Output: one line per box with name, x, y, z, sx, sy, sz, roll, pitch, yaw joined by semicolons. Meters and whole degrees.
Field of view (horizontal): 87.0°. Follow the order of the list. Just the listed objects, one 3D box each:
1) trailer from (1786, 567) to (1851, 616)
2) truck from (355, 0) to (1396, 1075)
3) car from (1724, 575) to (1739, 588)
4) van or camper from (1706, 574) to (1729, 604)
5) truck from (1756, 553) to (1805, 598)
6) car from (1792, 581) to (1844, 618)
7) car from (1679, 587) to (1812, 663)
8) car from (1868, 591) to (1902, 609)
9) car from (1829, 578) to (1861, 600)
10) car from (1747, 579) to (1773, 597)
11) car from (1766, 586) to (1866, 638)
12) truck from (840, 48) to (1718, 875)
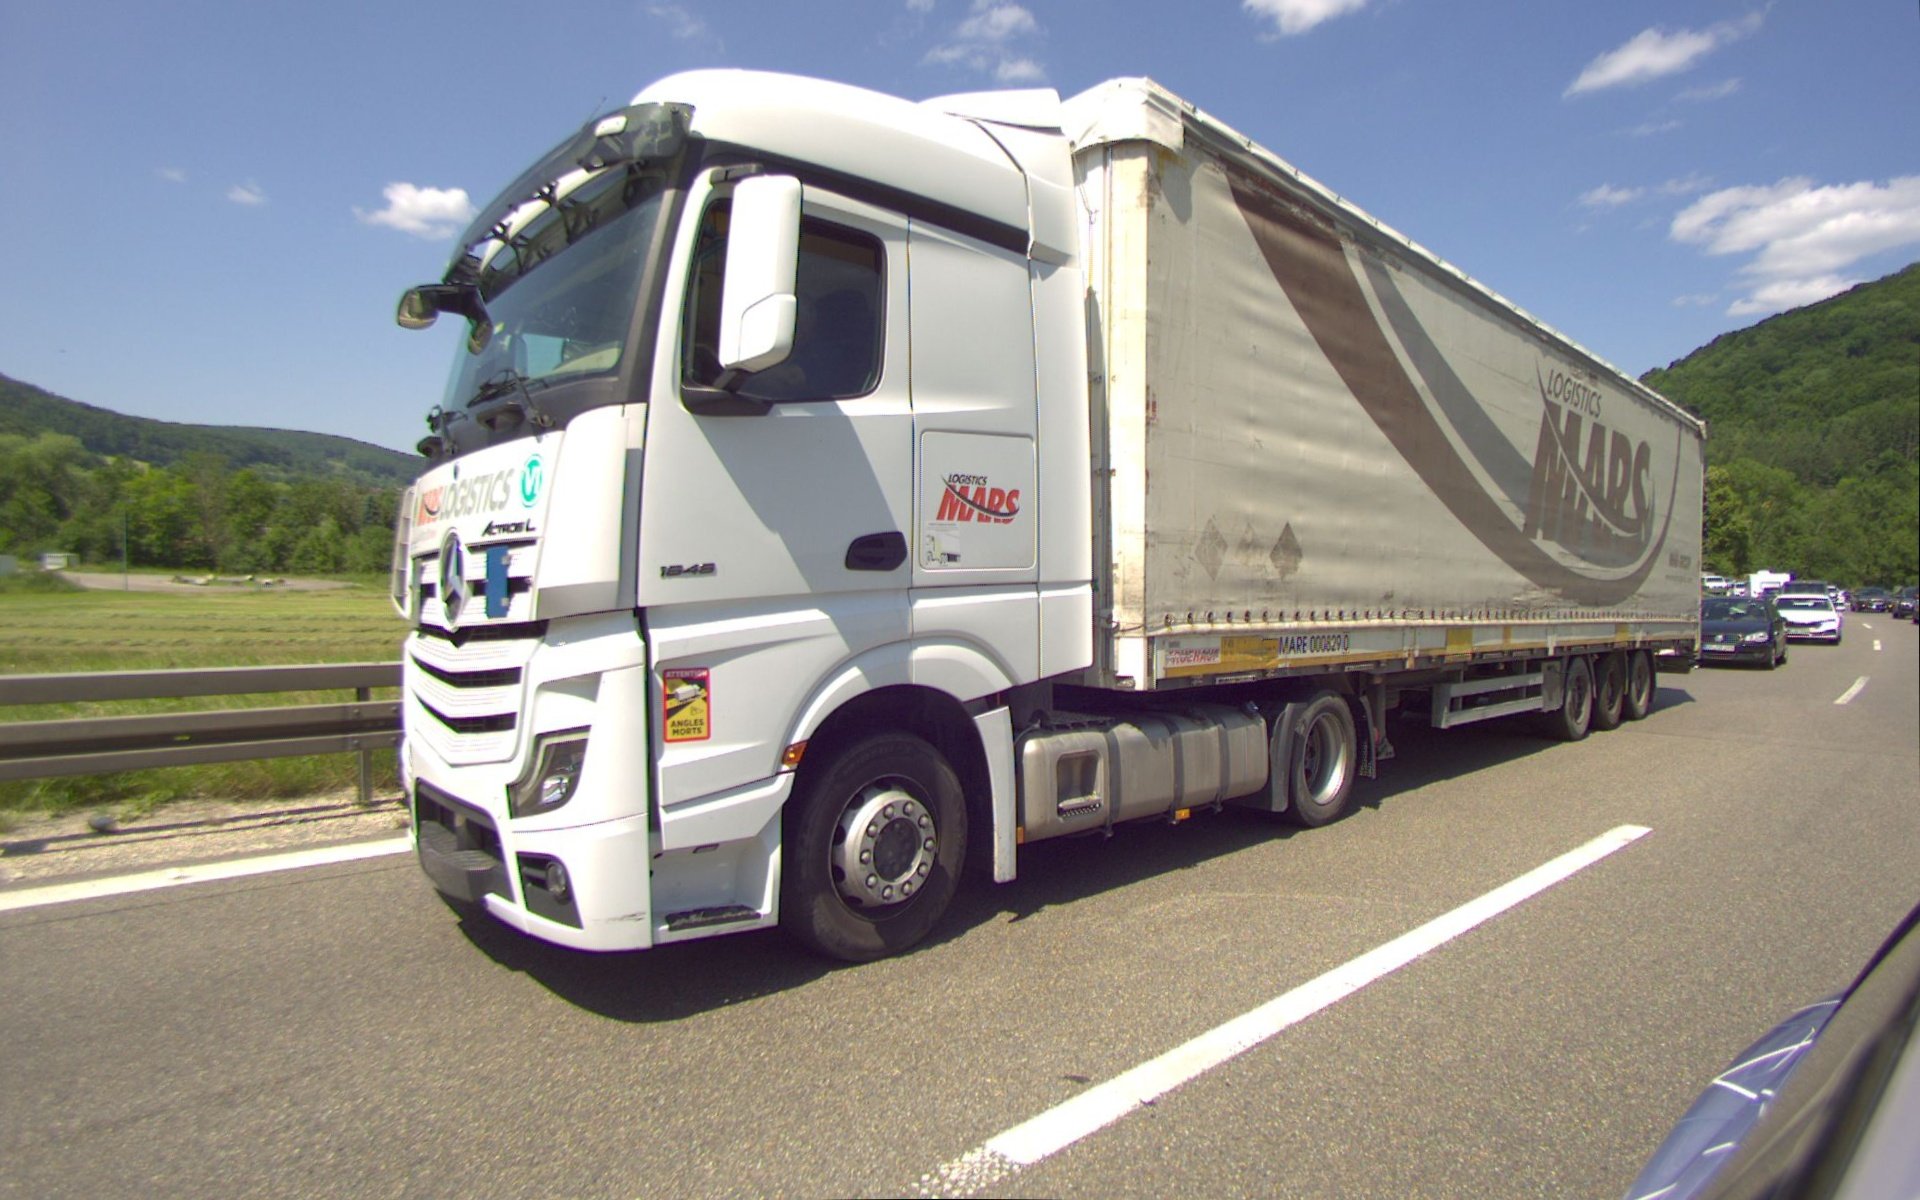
trailer;38.650;-0.409;45.517;1.994;1.993;3.939;6;4;42
truck;-0.010;-0.707;5.933;5.659;4.119;2.722;-1;1;-44
car;91.956;-2.198;120.584;1.240;1.497;2.918;-2;-1;39
van or camper;80.983;-1.192;108.204;1.900;3.065;4.810;1;1;37
truck;61.240;-1.723;75.633;2.590;3.147;6.764;-2;-1;38
car;36.164;-0.050;42.642;1.485;1.400;3.681;4;3;42
car;16.579;0.473;21.303;3.774;1.440;1.693;0;0;-44
car;59.558;-0.018;65.192;1.485;1.123;3.167;0;0;40
car;68.856;-0.807;78.745;1.522;1.658;3.373;-2;-1;36
car;72.105;-1.066;91.197;1.691;1.552;3.628;-2;-1;39
car;25.610;0.317;30.243;3.660;1.448;1.904;0;0;-44
truck;4.969;-0.776;10.730;13.513;4.118;2.728;-1;1;-44
